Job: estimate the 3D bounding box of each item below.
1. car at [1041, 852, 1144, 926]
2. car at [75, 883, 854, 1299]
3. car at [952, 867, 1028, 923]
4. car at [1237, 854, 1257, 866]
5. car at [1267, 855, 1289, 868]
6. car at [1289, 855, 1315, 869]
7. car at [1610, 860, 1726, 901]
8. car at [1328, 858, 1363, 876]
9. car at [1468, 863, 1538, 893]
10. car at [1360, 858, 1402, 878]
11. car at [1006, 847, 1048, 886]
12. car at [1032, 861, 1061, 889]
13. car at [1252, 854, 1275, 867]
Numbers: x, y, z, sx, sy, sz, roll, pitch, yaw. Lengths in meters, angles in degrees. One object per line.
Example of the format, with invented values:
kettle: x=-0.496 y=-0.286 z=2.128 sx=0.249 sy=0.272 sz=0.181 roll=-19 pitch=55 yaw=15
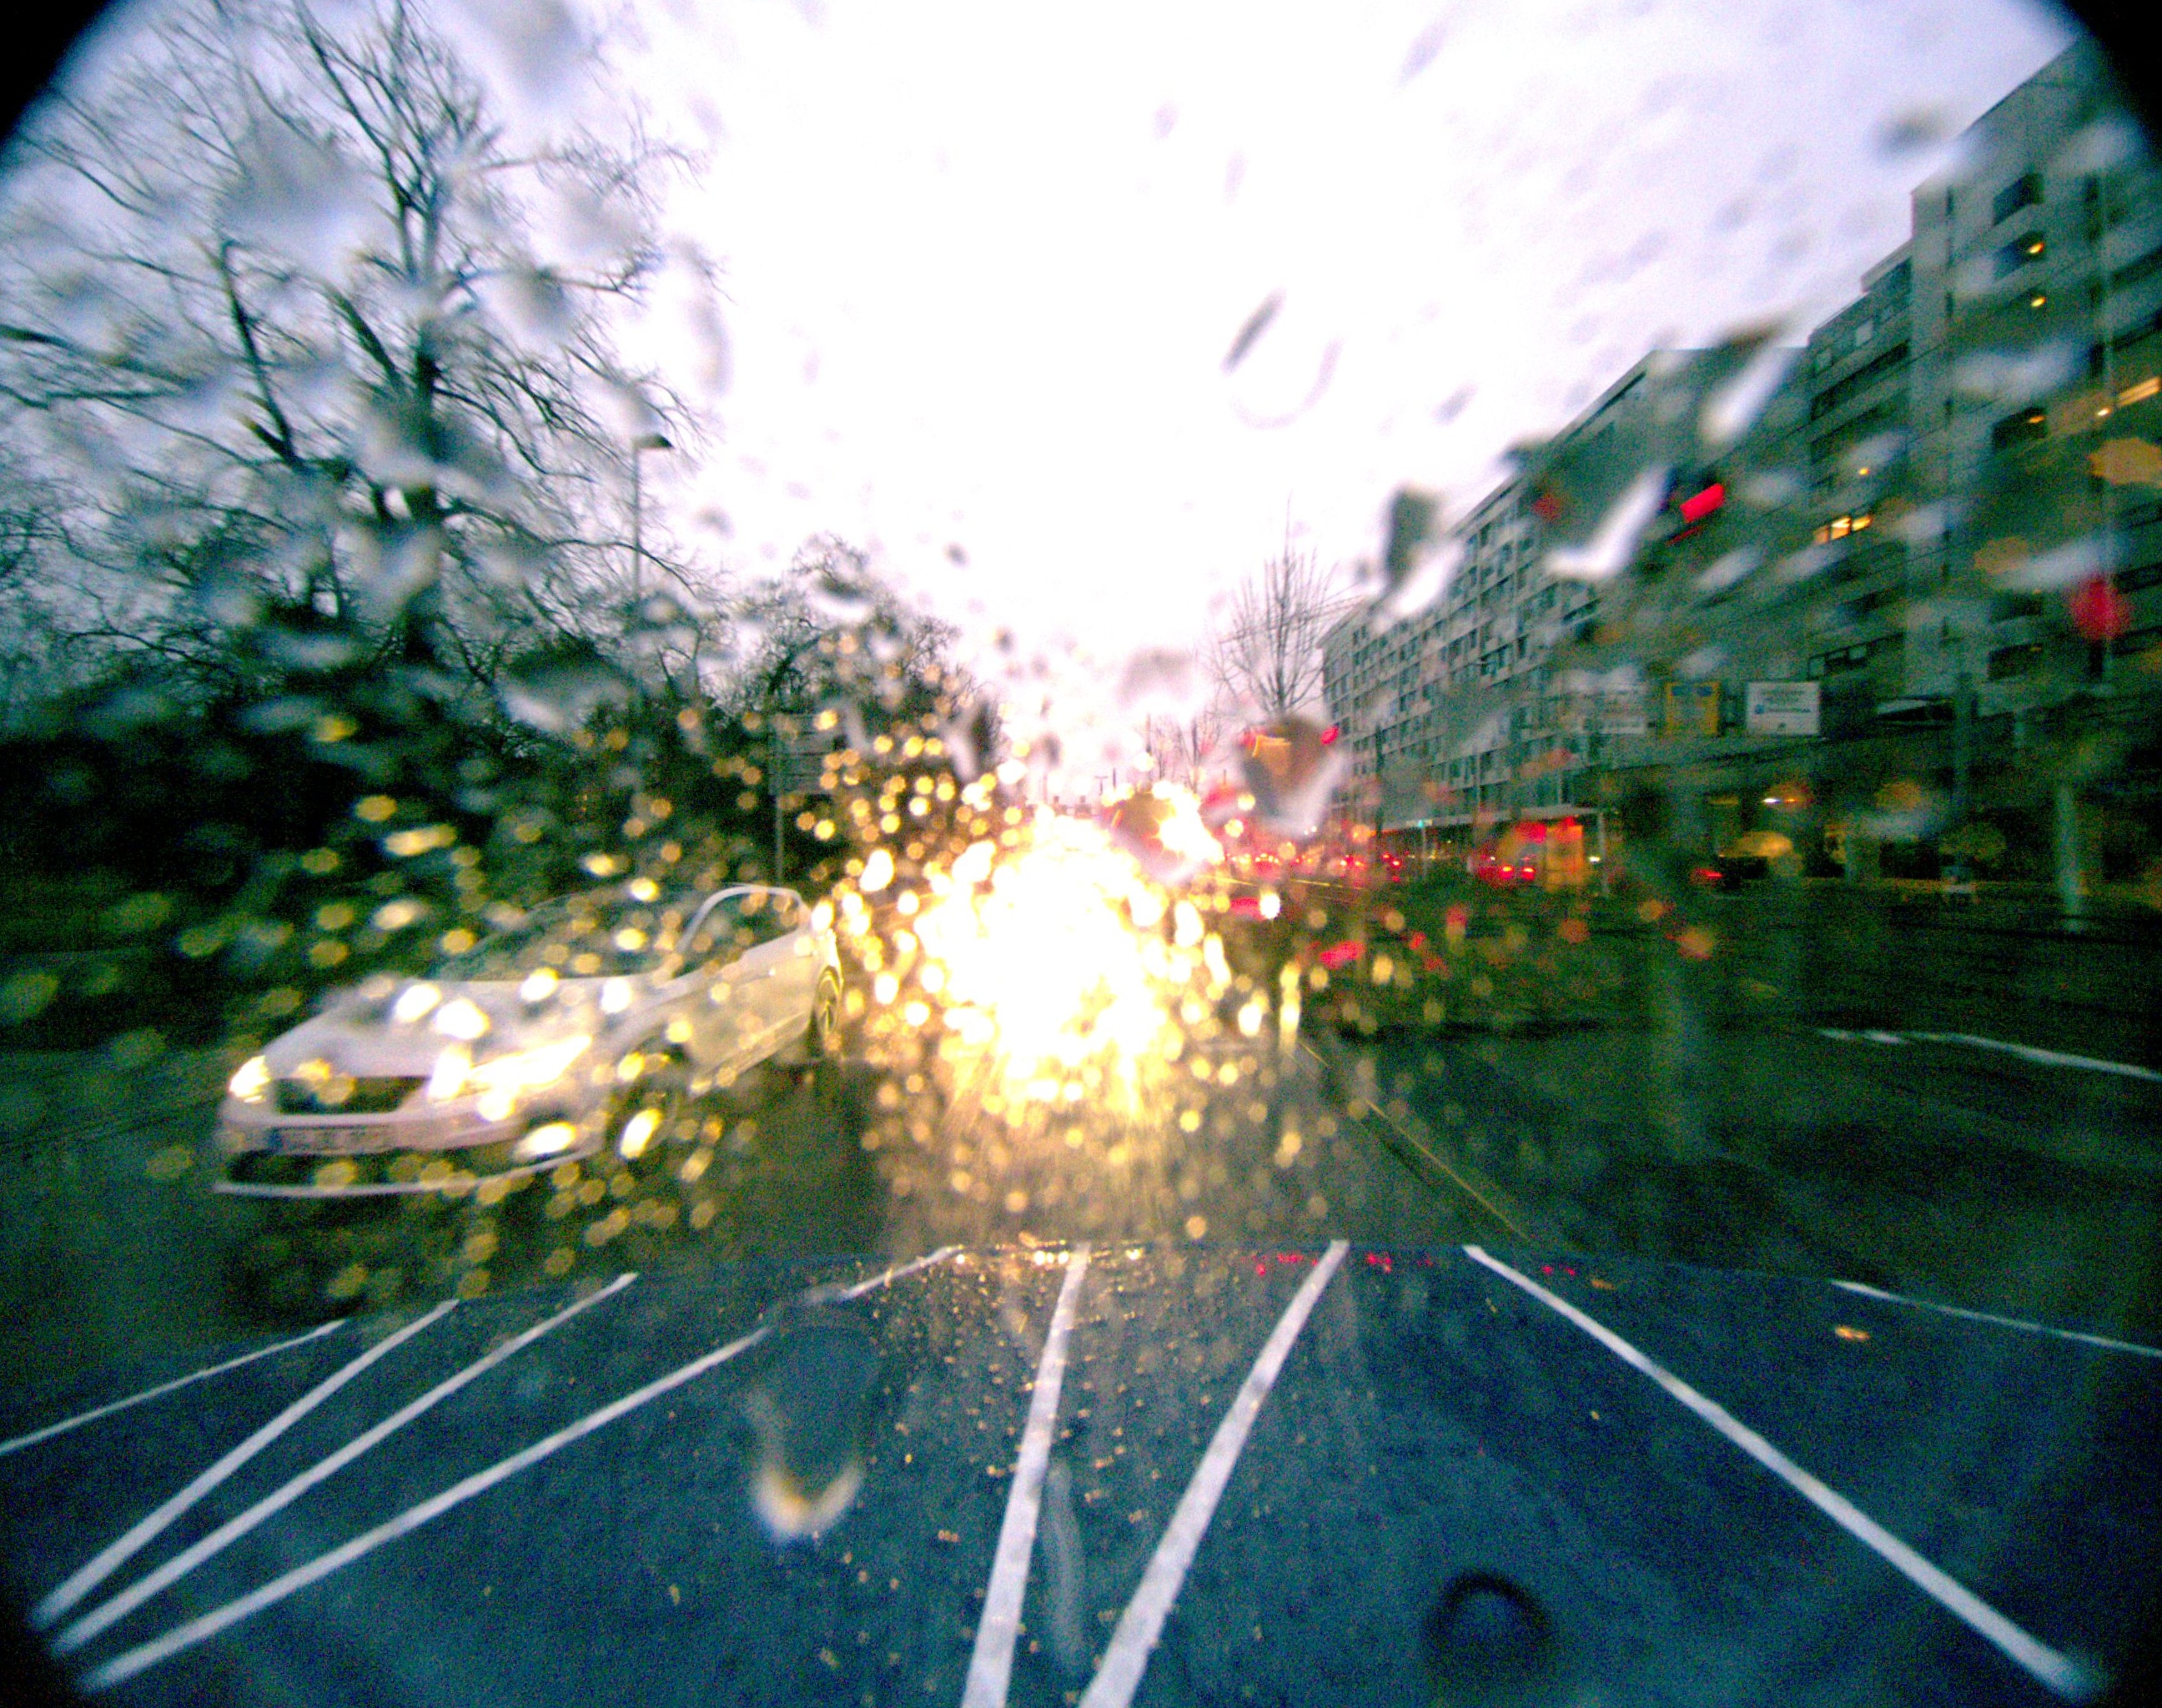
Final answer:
car: x=0.257 y=0.742 z=18.098 sx=2.160 sy=1.490 sz=4.007 roll=-1 pitch=1 yaw=0
car: x=-3.108 y=1.041 z=5.096 sx=1.778 sy=1.453 sz=4.040 roll=-1 pitch=1 yaw=3
car: x=-2.821 y=1.226 z=24.368 sx=1.880 sy=1.490 sz=4.076 roll=-1 pitch=1 yaw=0
car: x=20.883 y=0.770 z=95.698 sx=1.596 sy=1.440 sz=3.872 roll=-1 pitch=1 yaw=-1
car: x=23.505 y=0.857 z=90.949 sx=1.596 sy=1.440 sz=3.872 roll=-1 pitch=1 yaw=-1
car: x=24.192 y=0.884 z=83.254 sx=1.596 sy=1.440 sz=3.872 roll=-1 pitch=1 yaw=-1
car: x=23.370 y=0.998 z=30.426 sx=1.677 sy=1.440 sz=3.766 roll=-1 pitch=1 yaw=-1
car: x=23.867 y=1.147 z=68.617 sx=1.754 sy=1.440 sz=3.872 roll=-1 pitch=1 yaw=-1
car: x=23.715 y=1.338 z=42.859 sx=1.754 sy=1.503 sz=3.890 roll=-1 pitch=1 yaw=-1
car: x=23.601 y=1.072 z=59.875 sx=1.754 sy=1.440 sz=3.872 roll=-1 pitch=1 yaw=-1
car: x=-2.546 y=0.557 z=36.277 sx=1.679 sy=1.739 sz=3.864 roll=-1 pitch=1 yaw=0
car: x=-2.187 y=1.328 z=49.434 sx=1.679 sy=1.670 sz=3.864 roll=-1 pitch=1 yaw=0
car: x=21.059 y=0.691 z=87.713 sx=1.596 sy=1.440 sz=3.872 roll=-1 pitch=1 yaw=-1
